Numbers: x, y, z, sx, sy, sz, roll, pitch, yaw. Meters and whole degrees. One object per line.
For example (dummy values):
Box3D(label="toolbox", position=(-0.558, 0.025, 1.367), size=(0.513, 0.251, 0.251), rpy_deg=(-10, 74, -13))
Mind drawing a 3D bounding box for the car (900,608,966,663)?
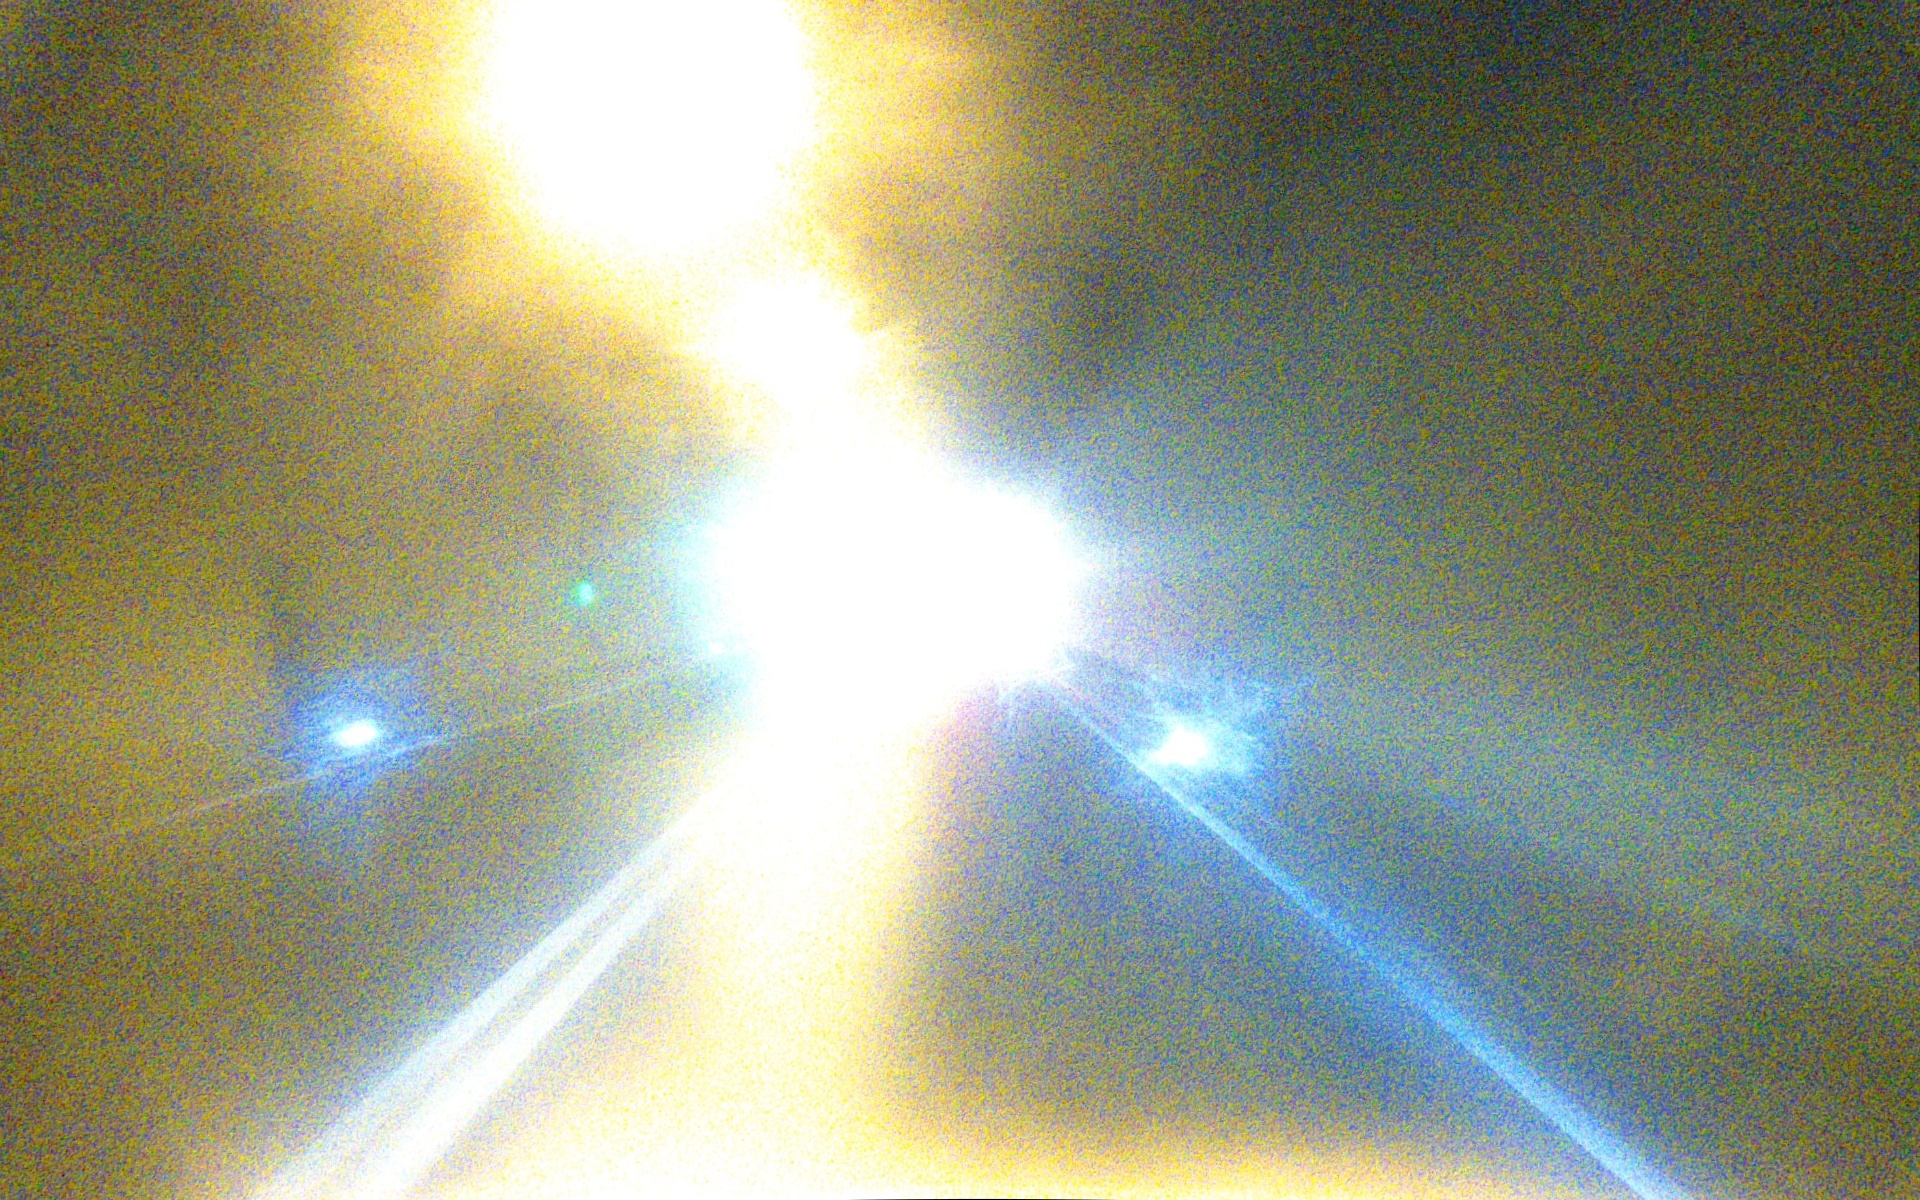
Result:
Box3D(label="car", position=(-0.896, 1.125, 53.354), size=(2.047, 1.691, 3.998), rpy_deg=(0, -1, -2))

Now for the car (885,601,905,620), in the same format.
Box3D(label="car", position=(-5.525, 0.880, 139.973), size=(1.656, 1.531, 3.743), rpy_deg=(0, 0, -2))
